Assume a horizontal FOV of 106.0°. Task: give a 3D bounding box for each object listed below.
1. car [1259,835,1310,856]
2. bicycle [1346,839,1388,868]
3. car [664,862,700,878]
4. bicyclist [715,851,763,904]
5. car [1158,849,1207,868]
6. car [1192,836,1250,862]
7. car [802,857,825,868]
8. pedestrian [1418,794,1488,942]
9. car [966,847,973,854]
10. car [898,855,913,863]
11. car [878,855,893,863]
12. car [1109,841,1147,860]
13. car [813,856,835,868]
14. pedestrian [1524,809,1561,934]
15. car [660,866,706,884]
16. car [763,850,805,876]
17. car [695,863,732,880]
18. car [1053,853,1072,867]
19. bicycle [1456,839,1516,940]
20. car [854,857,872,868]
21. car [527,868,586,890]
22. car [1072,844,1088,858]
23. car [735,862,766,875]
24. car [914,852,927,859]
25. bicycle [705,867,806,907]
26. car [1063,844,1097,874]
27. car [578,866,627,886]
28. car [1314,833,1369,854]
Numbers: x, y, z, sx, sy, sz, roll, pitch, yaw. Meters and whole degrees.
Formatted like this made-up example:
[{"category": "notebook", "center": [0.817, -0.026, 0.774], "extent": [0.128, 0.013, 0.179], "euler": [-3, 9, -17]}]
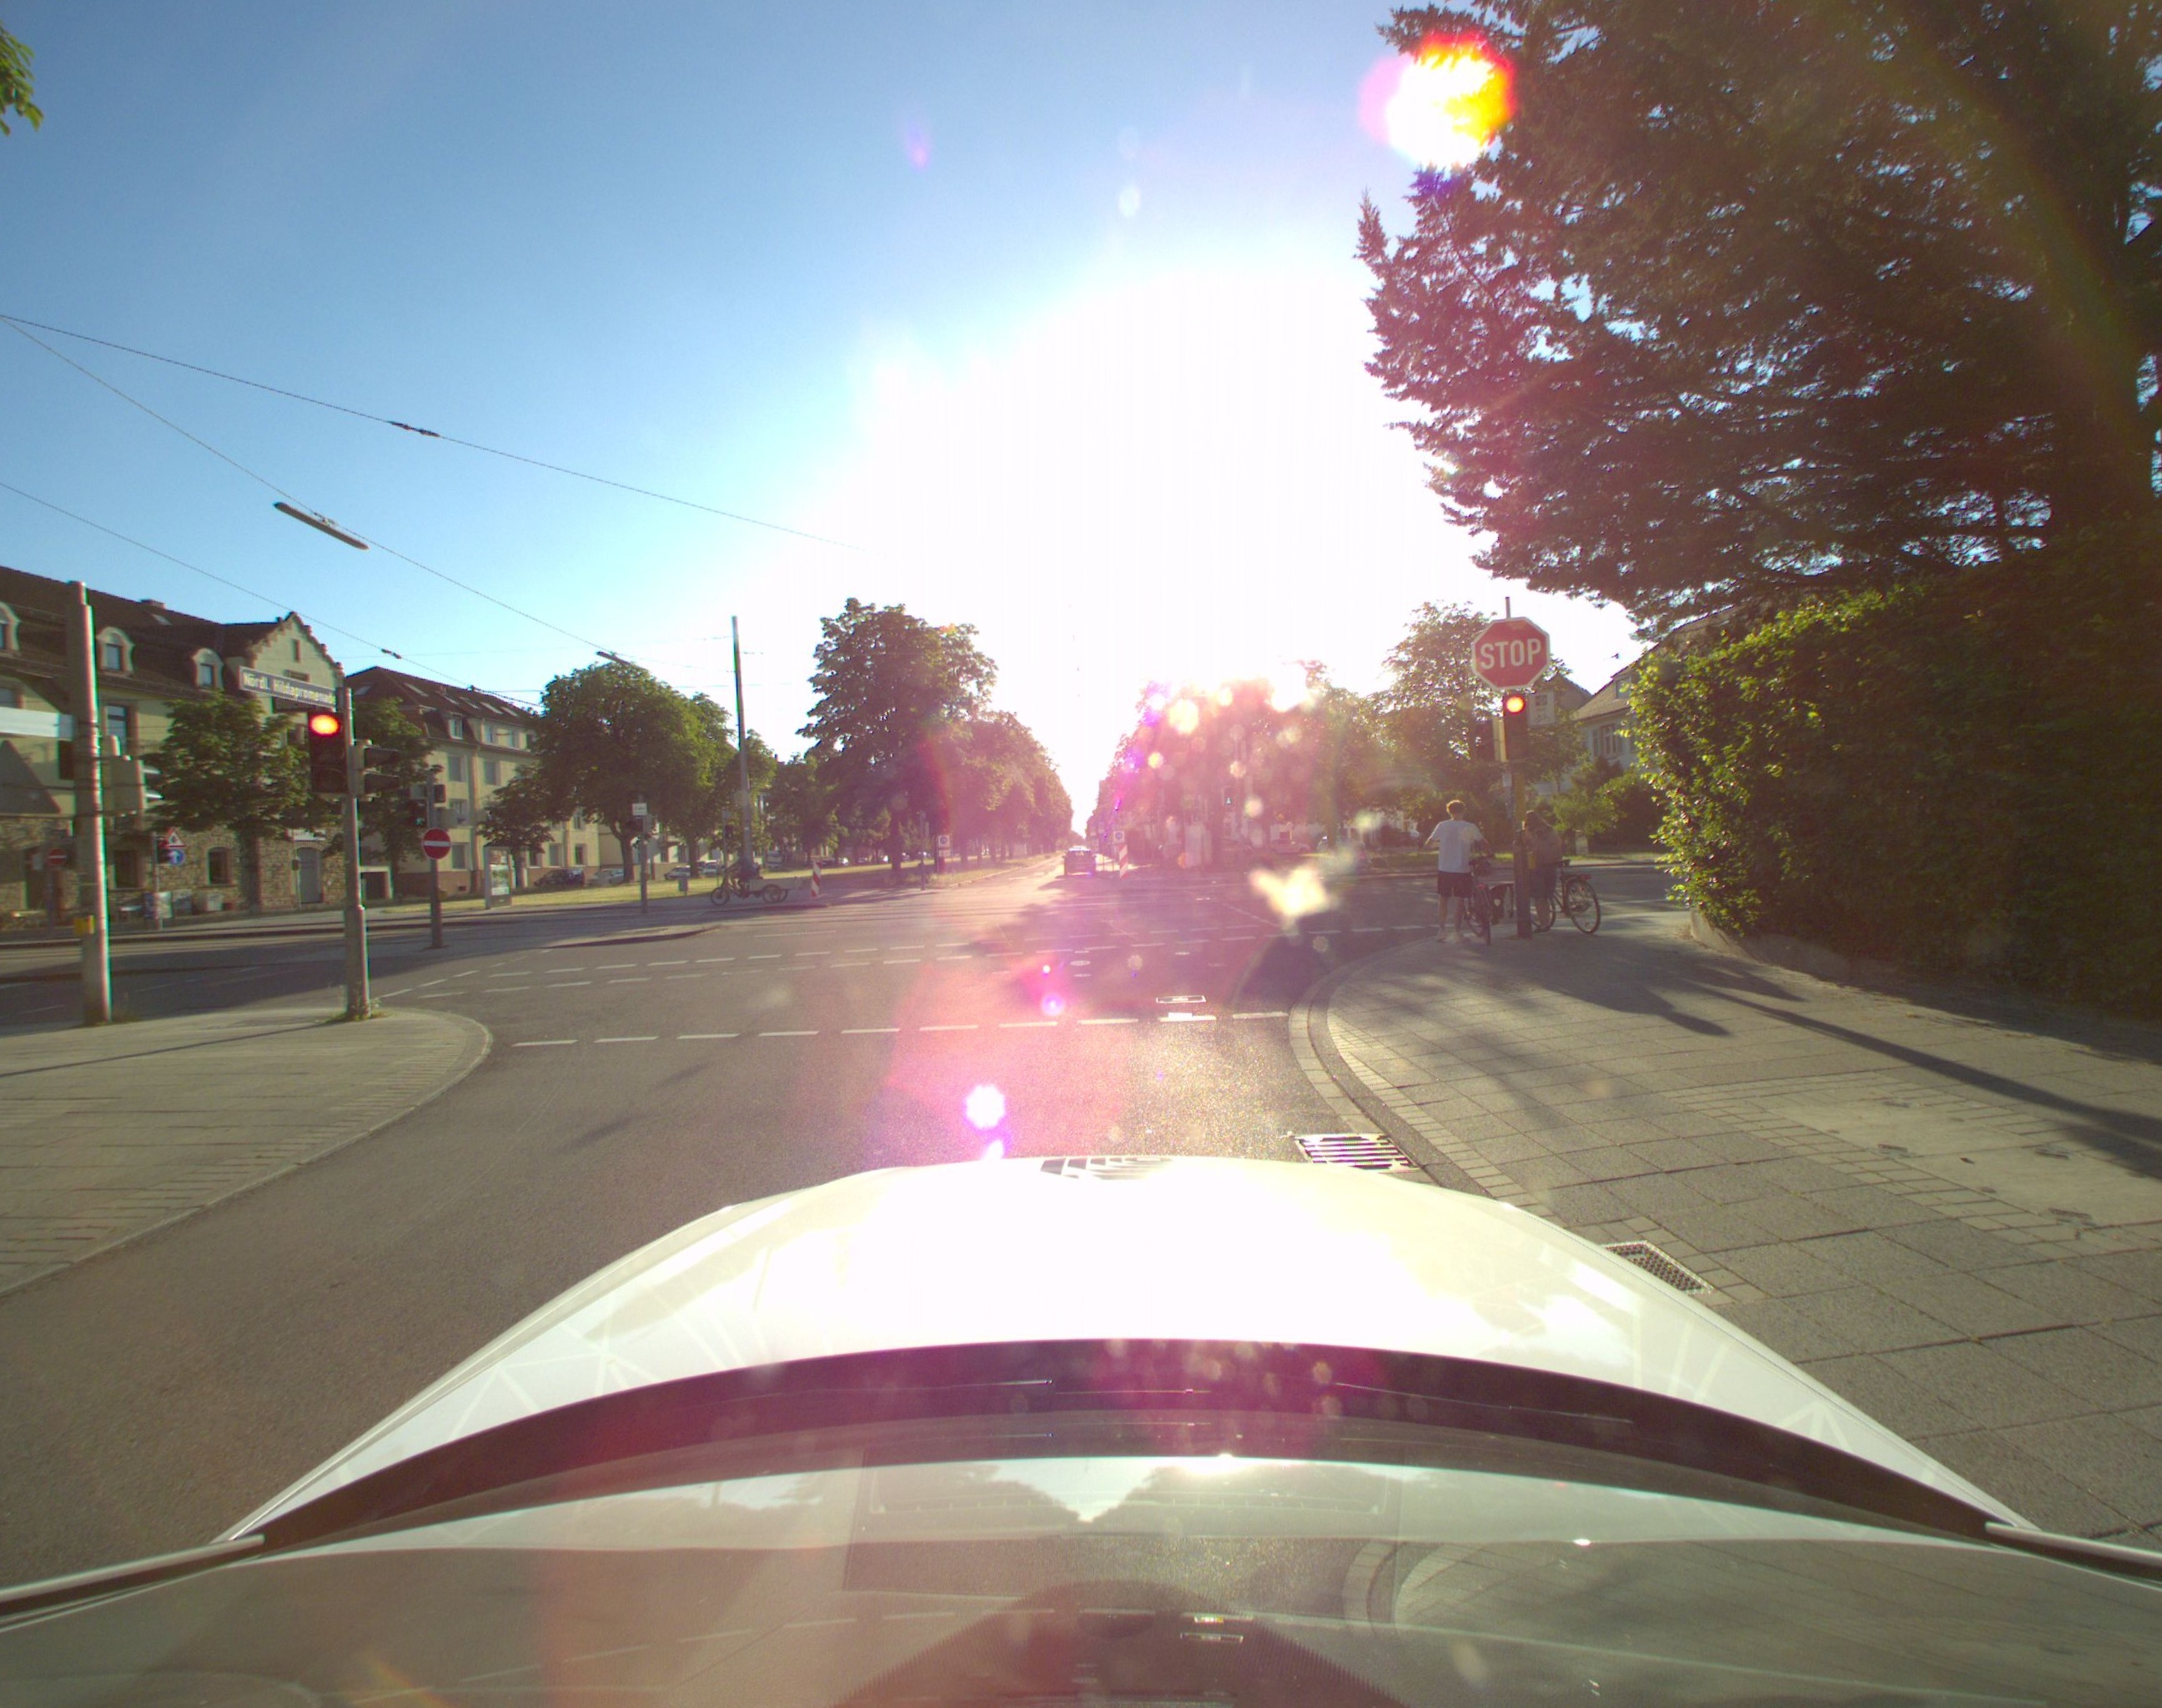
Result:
[{"category": "car", "center": [16.244, -0.636, 65.058], "extent": [3.548, 1.516, 1.602], "euler": [-2, 0, -6]}, {"category": "bicycle", "center": [11.541, -0.029, 32.837], "extent": [1.513, 1.089, 0.469], "euler": [-2, 4, 9]}, {"category": "car", "center": [-42.802, 1.663, 87.497], "extent": [1.709, 1.633, 4.192], "euler": [0, -1, 2]}, {"category": "bicyclist", "center": [-11.700, 0.793, 27.885], "extent": [1.139, 1.723, 0.876], "euler": [-3, -1, 4]}, {"category": "car", "center": [8.770, 0.368, 70.628], "extent": [3.975, 1.447, 1.715], "euler": [-2, -1, -1]}, {"category": "car", "center": [11.208, -0.367, 65.471], "extent": [4.228, 1.875, 2.030], "euler": [-2, -1, -1]}, {"category": "car", "center": [-41.959, 1.327, 127.917], "extent": [1.986, 1.659, 4.376], "euler": [0, -1, 2]}, {"category": "pedestrian", "center": [4.968, 0.178, 10.925], "extent": [0.622, 1.866, 0.778], "euler": [-6, -1, 20]}, {"category": "car", "center": [-35.009, -1.067, 255.168], "extent": [1.649, 1.938, 3.566], "euler": [0, -2, -1]}, {"category": "car", "center": [-36.321, 0.966, 168.663], "extent": [2.016, 1.659, 3.984], "euler": [0, -1, 1]}, {"category": "car", "center": [-41.754, 0.990, 173.912], "extent": [1.986, 1.659, 4.357], "euler": [0, -1, 2]}, {"category": "car", "center": [5.389, -0.367, 93.675], "extent": [3.980, 1.822, 1.757], "euler": [-3, -5, -5]}, {"category": "car", "center": [-37.113, 1.208, 117.726], "extent": [1.873, 1.674, 4.315], "euler": [0, 0, 1]}, {"category": "pedestrian", "center": [5.976, 0.222, 10.564], "extent": [0.346, 1.585, 0.465], "euler": [-1, -1, 23]}, {"category": "car", "center": [-37.467, 1.948, 76.728], "extent": [1.986, 1.659, 4.572], "euler": [0, -1, 2]}, {"category": "car", "center": [-37.168, 1.116, 102.217], "extent": [2.384, 3.131, 7.853], "euler": [0, 0, 0]}, {"category": "car", "center": [-37.227, 1.794, 82.641], "extent": [1.791, 1.554, 4.417], "euler": [0, 1, -2]}, {"category": "car", "center": [-1.747, 0.566, 78.534], "extent": [1.704, 1.359, 4.202], "euler": [0, 0, 0]}, {"category": "bicycle", "center": [5.191, 0.396, 10.516], "extent": [0.567, 1.184, 1.916], "euler": [0, 1, 23]}, {"category": "car", "center": [-36.919, 1.420, 137.912], "extent": [1.805, 1.781, 4.123], "euler": [0, -1, 1]}, {"category": "car", "center": [-43.239, 2.026, 67.239], "extent": [1.986, 1.736, 4.313], "euler": [0, -1, 2]}, {"category": "car", "center": [-0.179, -0.394, 103.939], "extent": [1.987, 1.781, 3.999], "euler": [0, 1, -1]}, {"category": "car", "center": [-42.178, 1.824, 103.973], "extent": [1.986, 1.659, 4.572], "euler": [0, -1, 2]}, {"category": "car", "center": [-37.009, 0.342, 188.042], "extent": [1.987, 1.658, 4.570], "euler": [-2, 0, 0]}, {"category": "bicycle", "center": [-11.111, 1.126, 27.853], "extent": [3.059, 1.161, 0.876], "euler": [-3, -1, 4]}, {"category": "car", "center": [0.009, 0.277, 44.700], "extent": [1.719, 1.511, 4.542], "euler": [0, -1, 2]}, {"category": "car", "center": [-43.076, 1.970, 73.411], "extent": [1.986, 1.659, 4.001], "euler": [0, -1, 2]}, {"category": "car", "center": [20.992, -0.834, 65.673], "extent": [3.915, 1.524, 1.521], "euler": [-1, -1, -5]}]
